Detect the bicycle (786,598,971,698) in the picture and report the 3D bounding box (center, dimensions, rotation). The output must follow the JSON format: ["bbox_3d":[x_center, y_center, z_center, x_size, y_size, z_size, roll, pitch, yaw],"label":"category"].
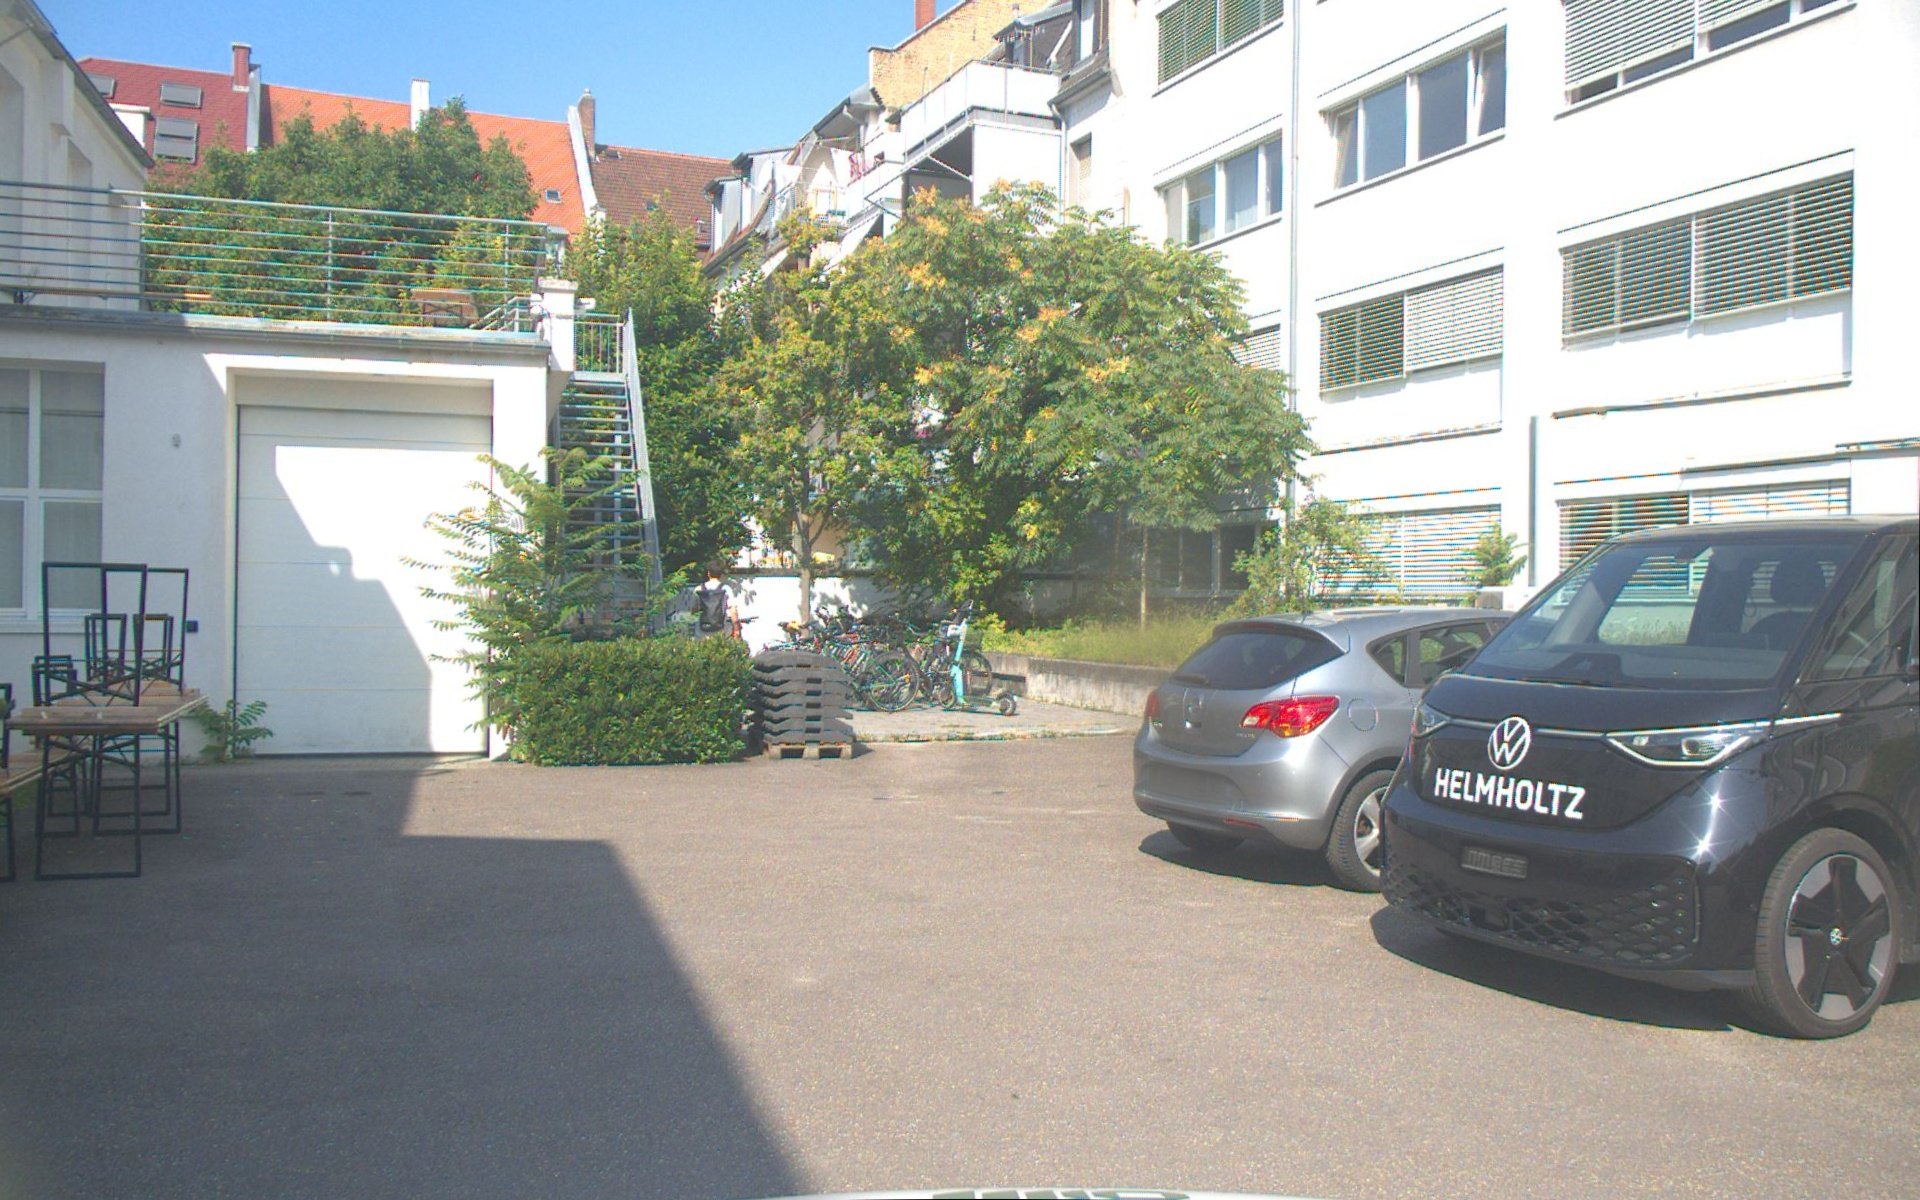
[{"bbox_3d":[-1.076,0.638,21.950,2.373,1.268,0.524,1,0,-17],"label":"bicycle"}]

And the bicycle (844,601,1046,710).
[{"bbox_3d":[-0.176,0.672,20.051,2.373,1.268,0.524,1,0,-17],"label":"bicycle"}]

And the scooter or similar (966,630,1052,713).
[{"bbox_3d":[0.580,0.846,19.775,0.979,0.940,0.359,1,0,36],"label":"scooter or similar"}]

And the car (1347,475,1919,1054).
[{"bbox_3d":[3.989,0.526,7.236,4.283,1.891,1.898,0,1,-27],"label":"car"}]

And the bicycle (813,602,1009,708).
[{"bbox_3d":[-0.607,0.685,20.623,2.373,1.268,0.524,1,0,-17],"label":"bicycle"}]

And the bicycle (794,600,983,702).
[{"bbox_3d":[-0.917,0.657,21.375,2.373,1.268,0.524,1,0,-17],"label":"bicycle"}]

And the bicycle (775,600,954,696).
[{"bbox_3d":[-1.301,0.658,22.626,2.373,1.268,0.524,1,0,-17],"label":"bicycle"}]

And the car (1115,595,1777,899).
[{"bbox_3d":[2.967,0.724,9.909,3.856,1.491,1.646,0,1,-31],"label":"car"}]

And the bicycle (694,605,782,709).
[{"bbox_3d":[-2.745,0.672,20.271,0.482,1.163,1.977,-1,1,-26],"label":"bicycle"}]

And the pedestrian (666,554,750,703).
[{"bbox_3d":[-3.110,0.346,20.384,0.848,1.802,0.606,1,0,-28],"label":"pedestrian"}]
